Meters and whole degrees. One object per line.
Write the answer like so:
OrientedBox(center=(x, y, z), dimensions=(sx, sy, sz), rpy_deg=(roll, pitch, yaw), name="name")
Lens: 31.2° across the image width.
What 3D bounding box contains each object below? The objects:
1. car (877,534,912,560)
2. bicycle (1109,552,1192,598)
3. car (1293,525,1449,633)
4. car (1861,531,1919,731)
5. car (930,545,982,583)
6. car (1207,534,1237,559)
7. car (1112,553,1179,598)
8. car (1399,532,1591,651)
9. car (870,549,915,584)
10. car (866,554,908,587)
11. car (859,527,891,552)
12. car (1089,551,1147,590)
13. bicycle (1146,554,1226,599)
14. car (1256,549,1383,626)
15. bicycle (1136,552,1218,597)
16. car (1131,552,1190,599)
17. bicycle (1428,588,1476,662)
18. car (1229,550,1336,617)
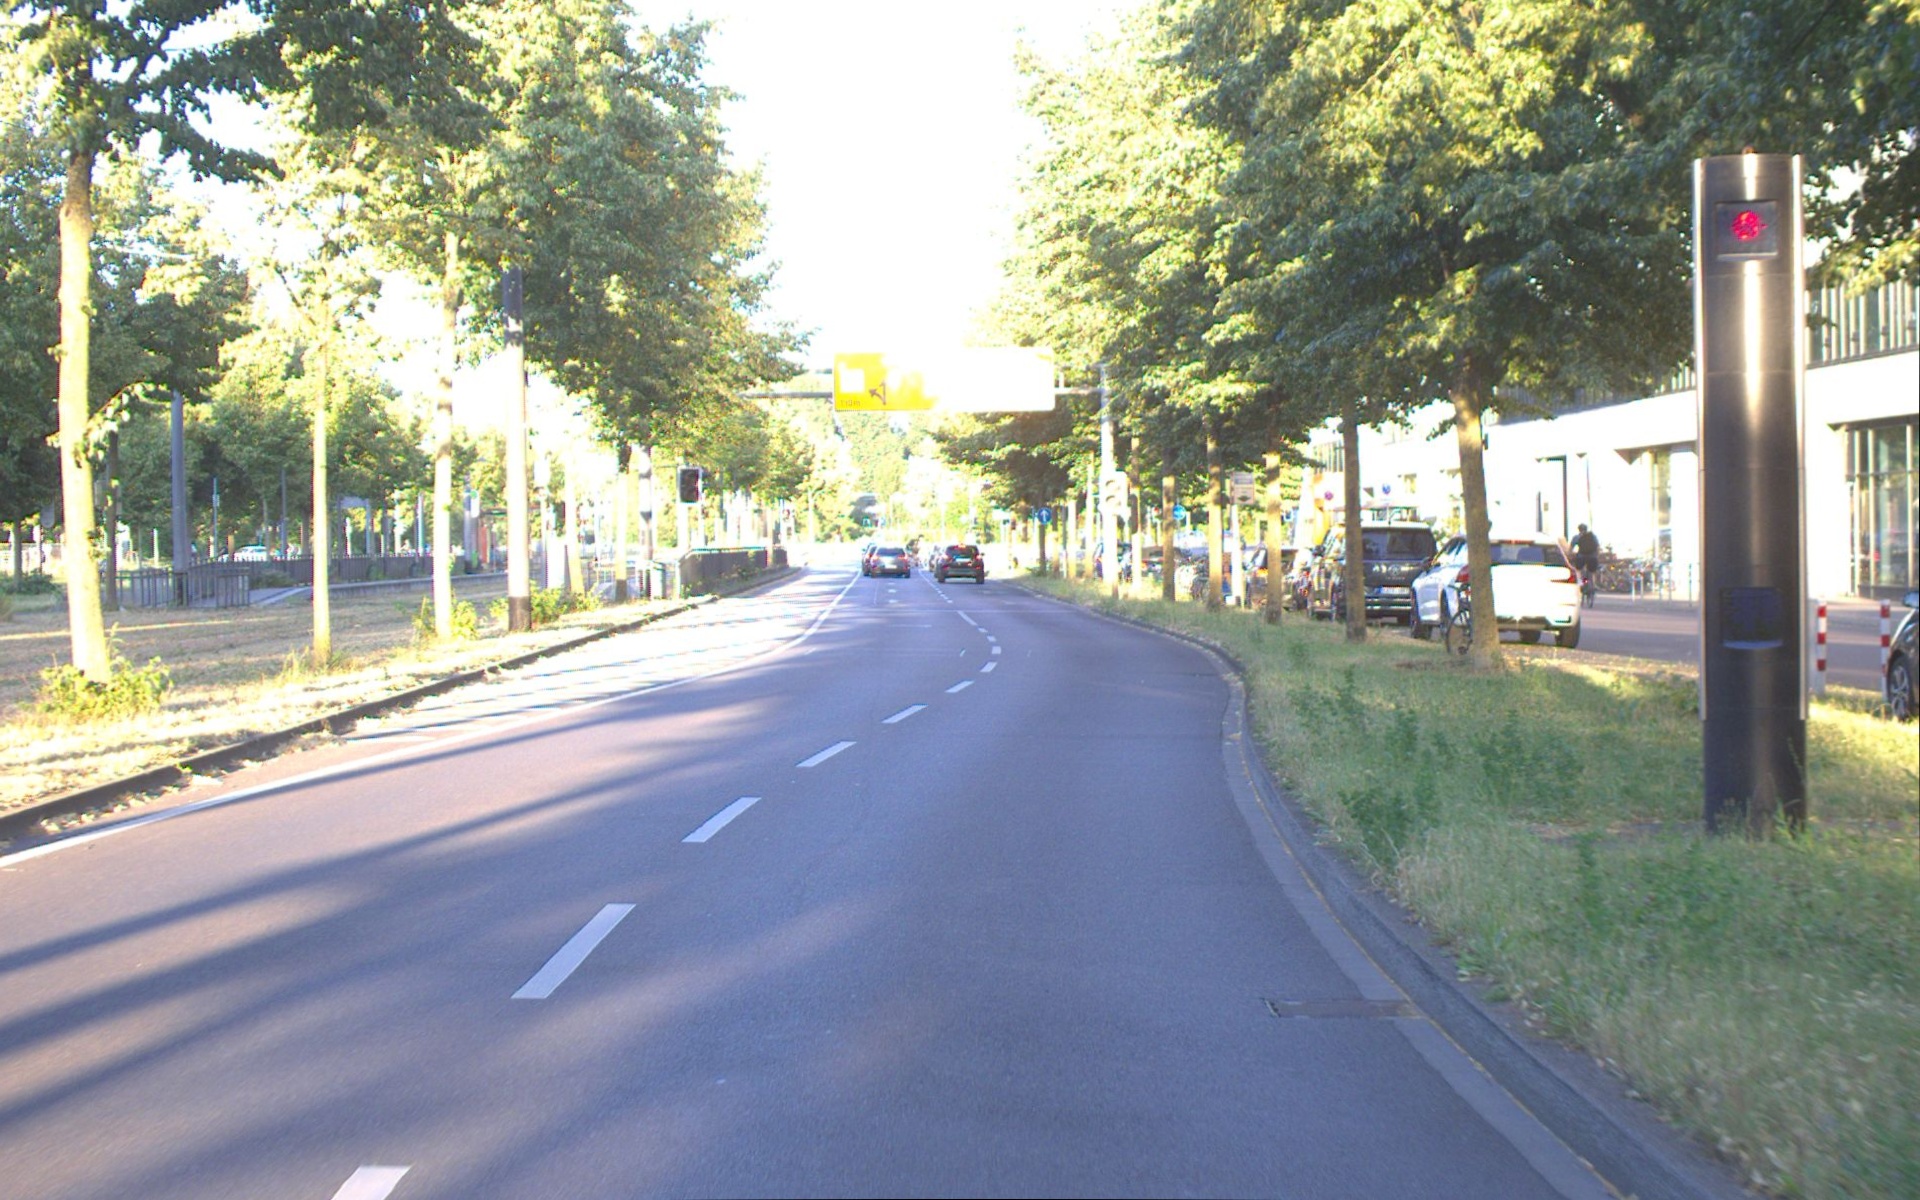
OrientedBox(center=(-3.746, -3.009, 195.106), dimensions=(1.911, 1.481, 4.000), rpy_deg=(-1, 1, -2), name="car")
OrientedBox(center=(4.724, -0.628, 85.368), dimensions=(1.941, 1.050, 0.545), rpy_deg=(3, 1, -16), name="bicycle")
OrientedBox(center=(7.377, -0.399, 62.118), dimensions=(1.993, 1.845, 4.666), rpy_deg=(-1, 1, -3), name="car")
OrientedBox(center=(8.112, 0.262, 25.478), dimensions=(1.709, 1.510, 3.759), rpy_deg=(1, 1, -2), name="car")
OrientedBox(center=(-0.163, -1.438, 135.503), dimensions=(1.911, 1.481, 4.000), rpy_deg=(0, 1, -2), name="car")
OrientedBox(center=(18.608, -3.810, 244.362), dimensions=(1.994, 1.722, 4.000), rpy_deg=(-1, 1, 2), name="car")
OrientedBox(center=(6.195, -0.849, 115.202), dimensions=(1.777, 1.467, 4.289), rpy_deg=(-1, 1, -3), name="car")
OrientedBox(center=(7.753, -0.151, 50.224), dimensions=(1.993, 1.637, 4.878), rpy_deg=(-1, 1, 0), name="car")
OrientedBox(center=(-3.003, -1.496, 152.633), dimensions=(1.911, 1.481, 4.000), rpy_deg=(-1, 1, -2), name="car")
OrientedBox(center=(-3.400, -1.379, 159.145), dimensions=(1.911, 1.481, 4.000), rpy_deg=(-1, 1, -2), name="car")
OrientedBox(center=(-5.194, -3.716, 210.525), dimensions=(1.911, 1.481, 4.000), rpy_deg=(-1, 1, -2), name="car")
OrientedBox(center=(5.981, -1.130, 130.564), dimensions=(1.756, 1.461, 4.159), rpy_deg=(-1, 1, -3), name="car")
OrientedBox(center=(5.788, -0.601, 88.161), dimensions=(1.941, 1.050, 0.409), rpy_deg=(3, 1, -8), name="bicycle")
OrientedBox(center=(7.153, -0.283, 68.847), dimensions=(1.809, 1.466, 4.666), rpy_deg=(-1, 1, -3), name="car")
OrientedBox(center=(5.485, -0.642, 86.940), dimensions=(1.941, 1.050, 0.545), rpy_deg=(3, 1, -12), name="bicycle")
OrientedBox(center=(6.303, -0.784, 108.438), dimensions=(1.575, 1.467, 3.881), rpy_deg=(0, 1, -1), name="car")
OrientedBox(center=(5.675, 0.279, 39.703), dimensions=(0.315, 0.820, 1.552), rpy_deg=(-1, 1, 0), name="bicycle")
OrientedBox(center=(7.033, -0.383, 75.352), dimensions=(1.869, 1.406, 4.646), rpy_deg=(-1, 1, 0), name="car")
